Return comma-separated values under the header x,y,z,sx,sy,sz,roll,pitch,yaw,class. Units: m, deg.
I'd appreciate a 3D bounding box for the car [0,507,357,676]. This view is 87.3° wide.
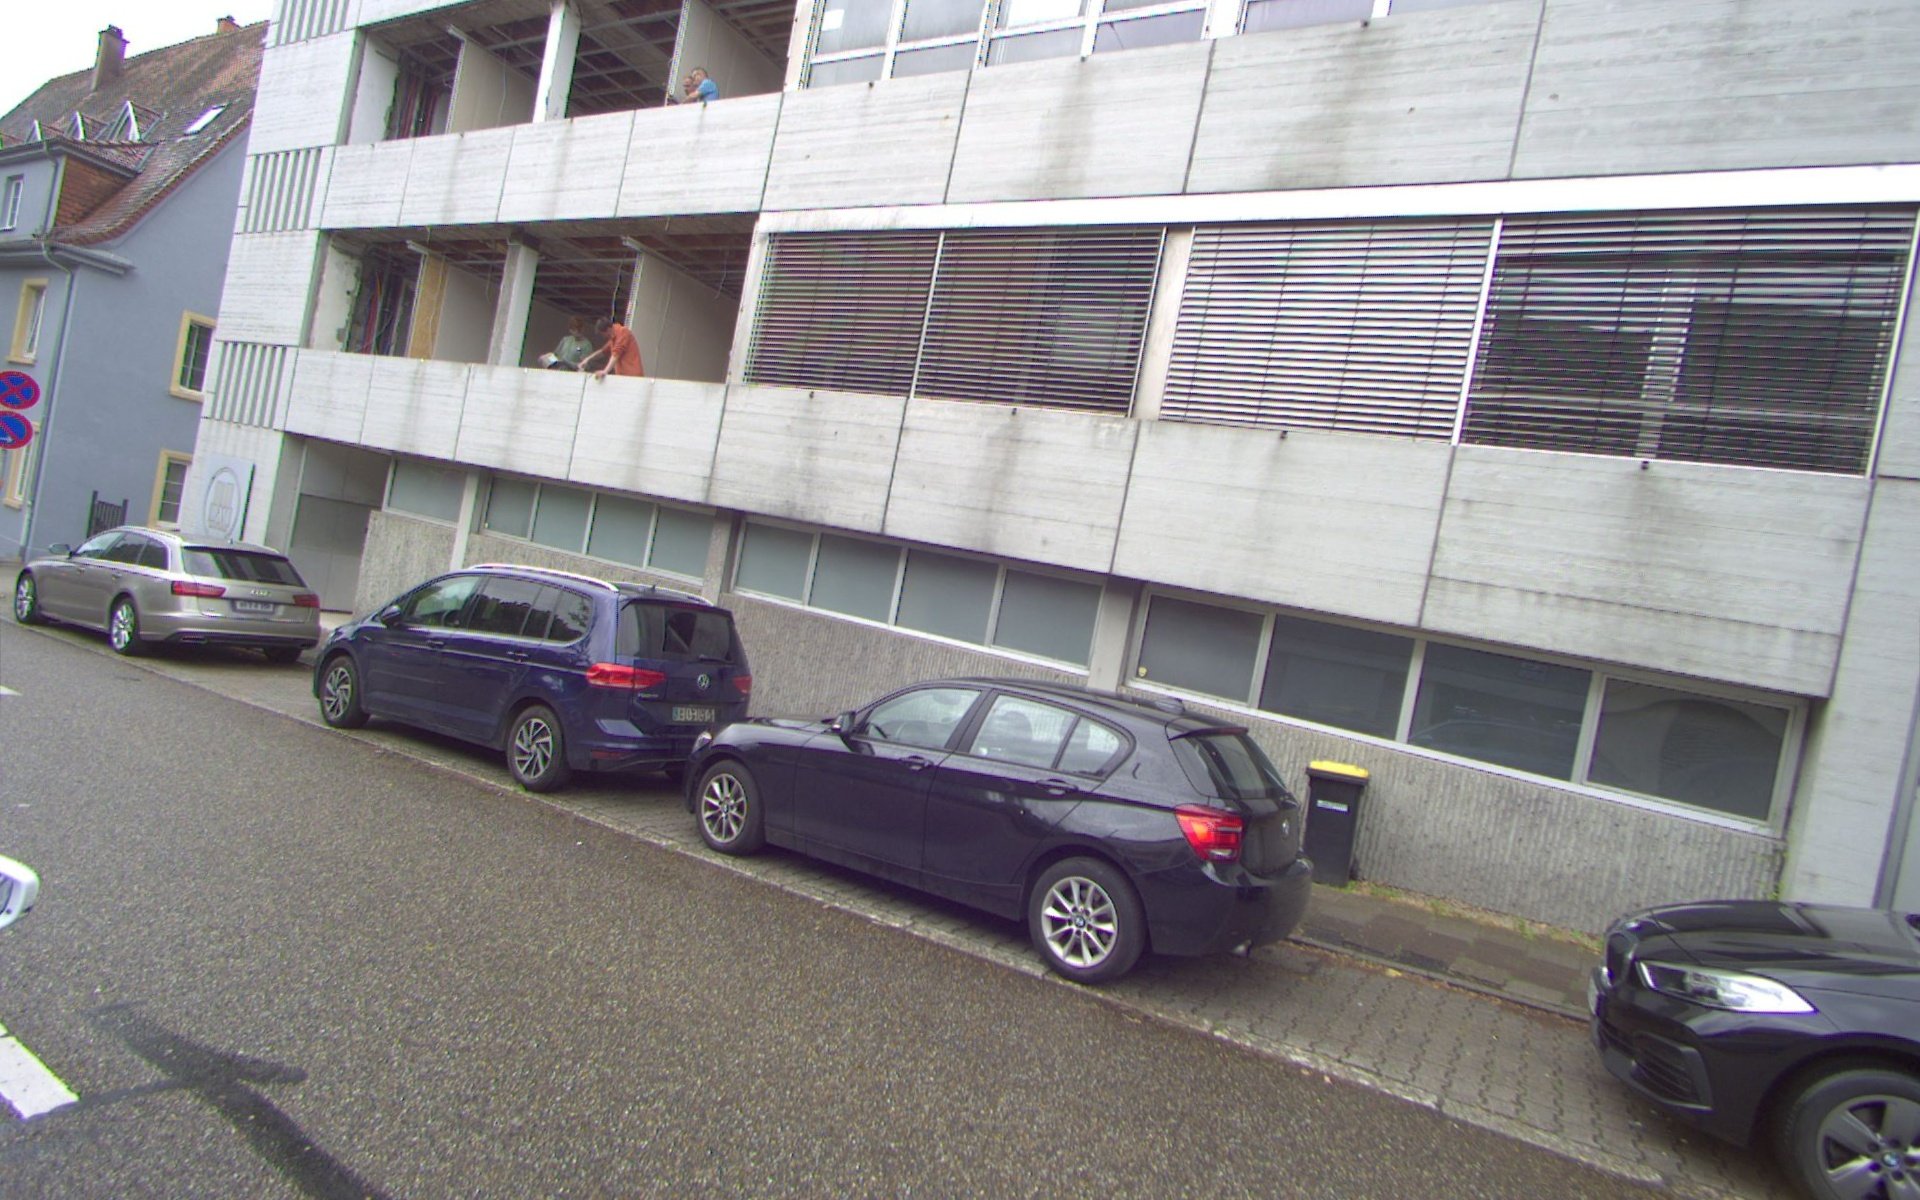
x,y,z,sx,sy,sz,roll,pitch,yaw,class
-9.984,-0.128,12.771,4.449,1.465,1.967,7,-1,30,car

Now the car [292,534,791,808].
x,y,z,sx,sy,sz,roll,pitch,yaw,class
-3.703,0.506,8.748,4.090,1.618,1.732,7,-1,30,car

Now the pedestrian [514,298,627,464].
x,y,z,sx,sy,sz,roll,pitch,yaw,class
-5.428,-3.025,14.060,0.847,2.036,0.909,6,-2,31,pedestrian

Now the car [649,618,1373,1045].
x,y,z,sx,sy,sz,roll,pitch,yaw,class
0.159,1.142,6.407,4.183,1.465,1.750,7,-1,34,car

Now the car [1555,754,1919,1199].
x,y,z,sx,sy,sz,roll,pitch,yaw,class
4.840,1.743,3.701,4.367,1.452,1.997,7,0,30,car

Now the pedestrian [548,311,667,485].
x,y,z,sx,sy,sz,roll,pitch,yaw,class
-4.662,-2.634,13.339,0.847,2.036,0.909,6,-2,31,pedestrian
